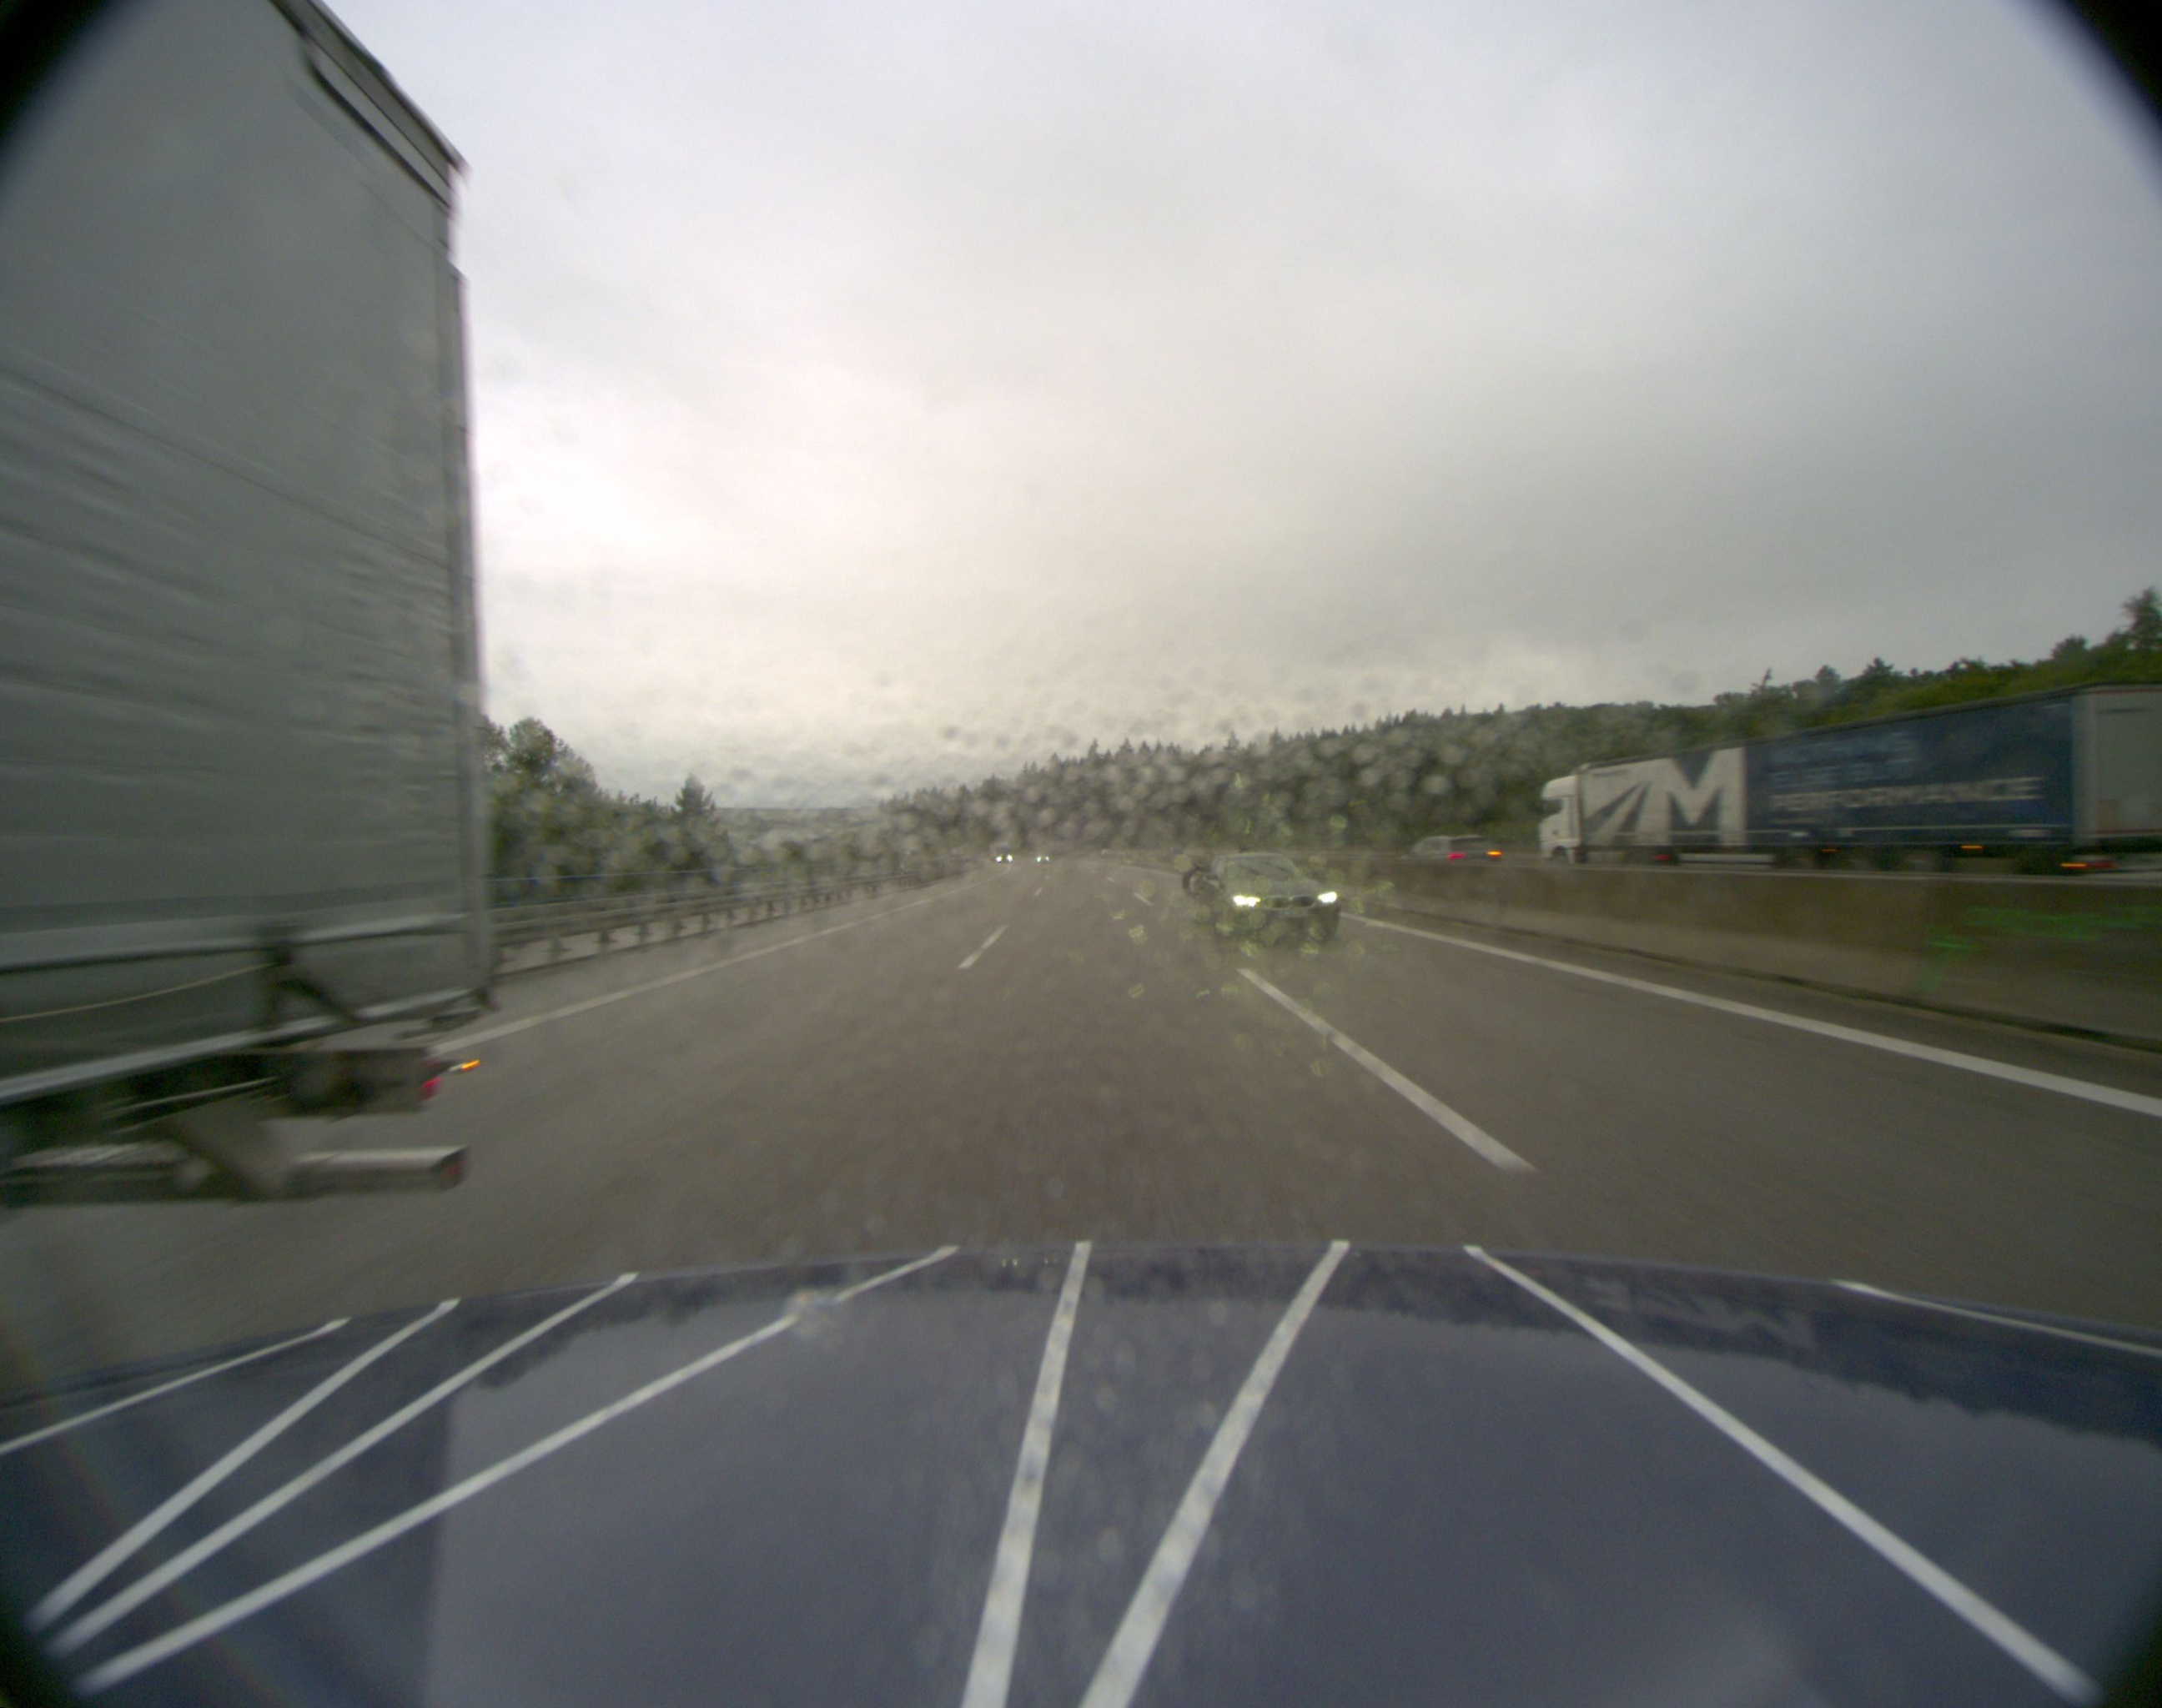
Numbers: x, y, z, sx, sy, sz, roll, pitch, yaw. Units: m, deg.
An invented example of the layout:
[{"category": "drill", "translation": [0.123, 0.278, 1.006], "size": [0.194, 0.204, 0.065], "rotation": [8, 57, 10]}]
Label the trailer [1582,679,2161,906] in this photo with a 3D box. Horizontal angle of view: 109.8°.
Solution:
[{"category": "trailer", "translation": [19.615, -1.187, 20.493], "size": [2.954, 4.009, 13.785], "rotation": [-2, 1, -1]}]

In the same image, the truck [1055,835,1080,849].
[{"category": "truck", "translation": [-3.863, -3.169, 206.552], "size": [3.545, 3.656, 11.901], "rotation": [-2, 1, -17]}]

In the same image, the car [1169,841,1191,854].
[{"category": "car", "translation": [12.806, -0.866, 98.205], "size": [1.999, 1.539, 4.216], "rotation": [-2, 1, -4]}]

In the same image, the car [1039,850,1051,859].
[{"category": "car", "translation": [-5.958, 0.080, 126.223], "size": [1.717, 1.399, 4.935], "rotation": [0, 0, -1]}]

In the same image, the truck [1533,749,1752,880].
[{"category": "truck", "translation": [19.550, -1.256, 27.070], "size": [2.954, 4.009, 6.380], "rotation": [-2, 1, -1]}]

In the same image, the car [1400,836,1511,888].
[{"category": "car", "translation": [12.354, 0.244, 25.370], "size": [1.788, 1.539, 3.886], "rotation": [-2, 1, 1]}]

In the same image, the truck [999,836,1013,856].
[{"category": "truck", "translation": [-15.659, -1.604, 158.466], "size": [2.739, 4.127, 8.616], "rotation": [-1, 0, -6]}]

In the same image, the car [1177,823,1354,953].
[{"category": "car", "translation": [3.217, 0.497, 14.733], "size": [1.912, 1.933, 6.162], "rotation": [-2, 1, 0]}]

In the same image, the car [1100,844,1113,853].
[{"category": "car", "translation": [4.657, -1.009, 138.577], "size": [1.999, 1.539, 4.216], "rotation": [-2, 1, -4]}]
